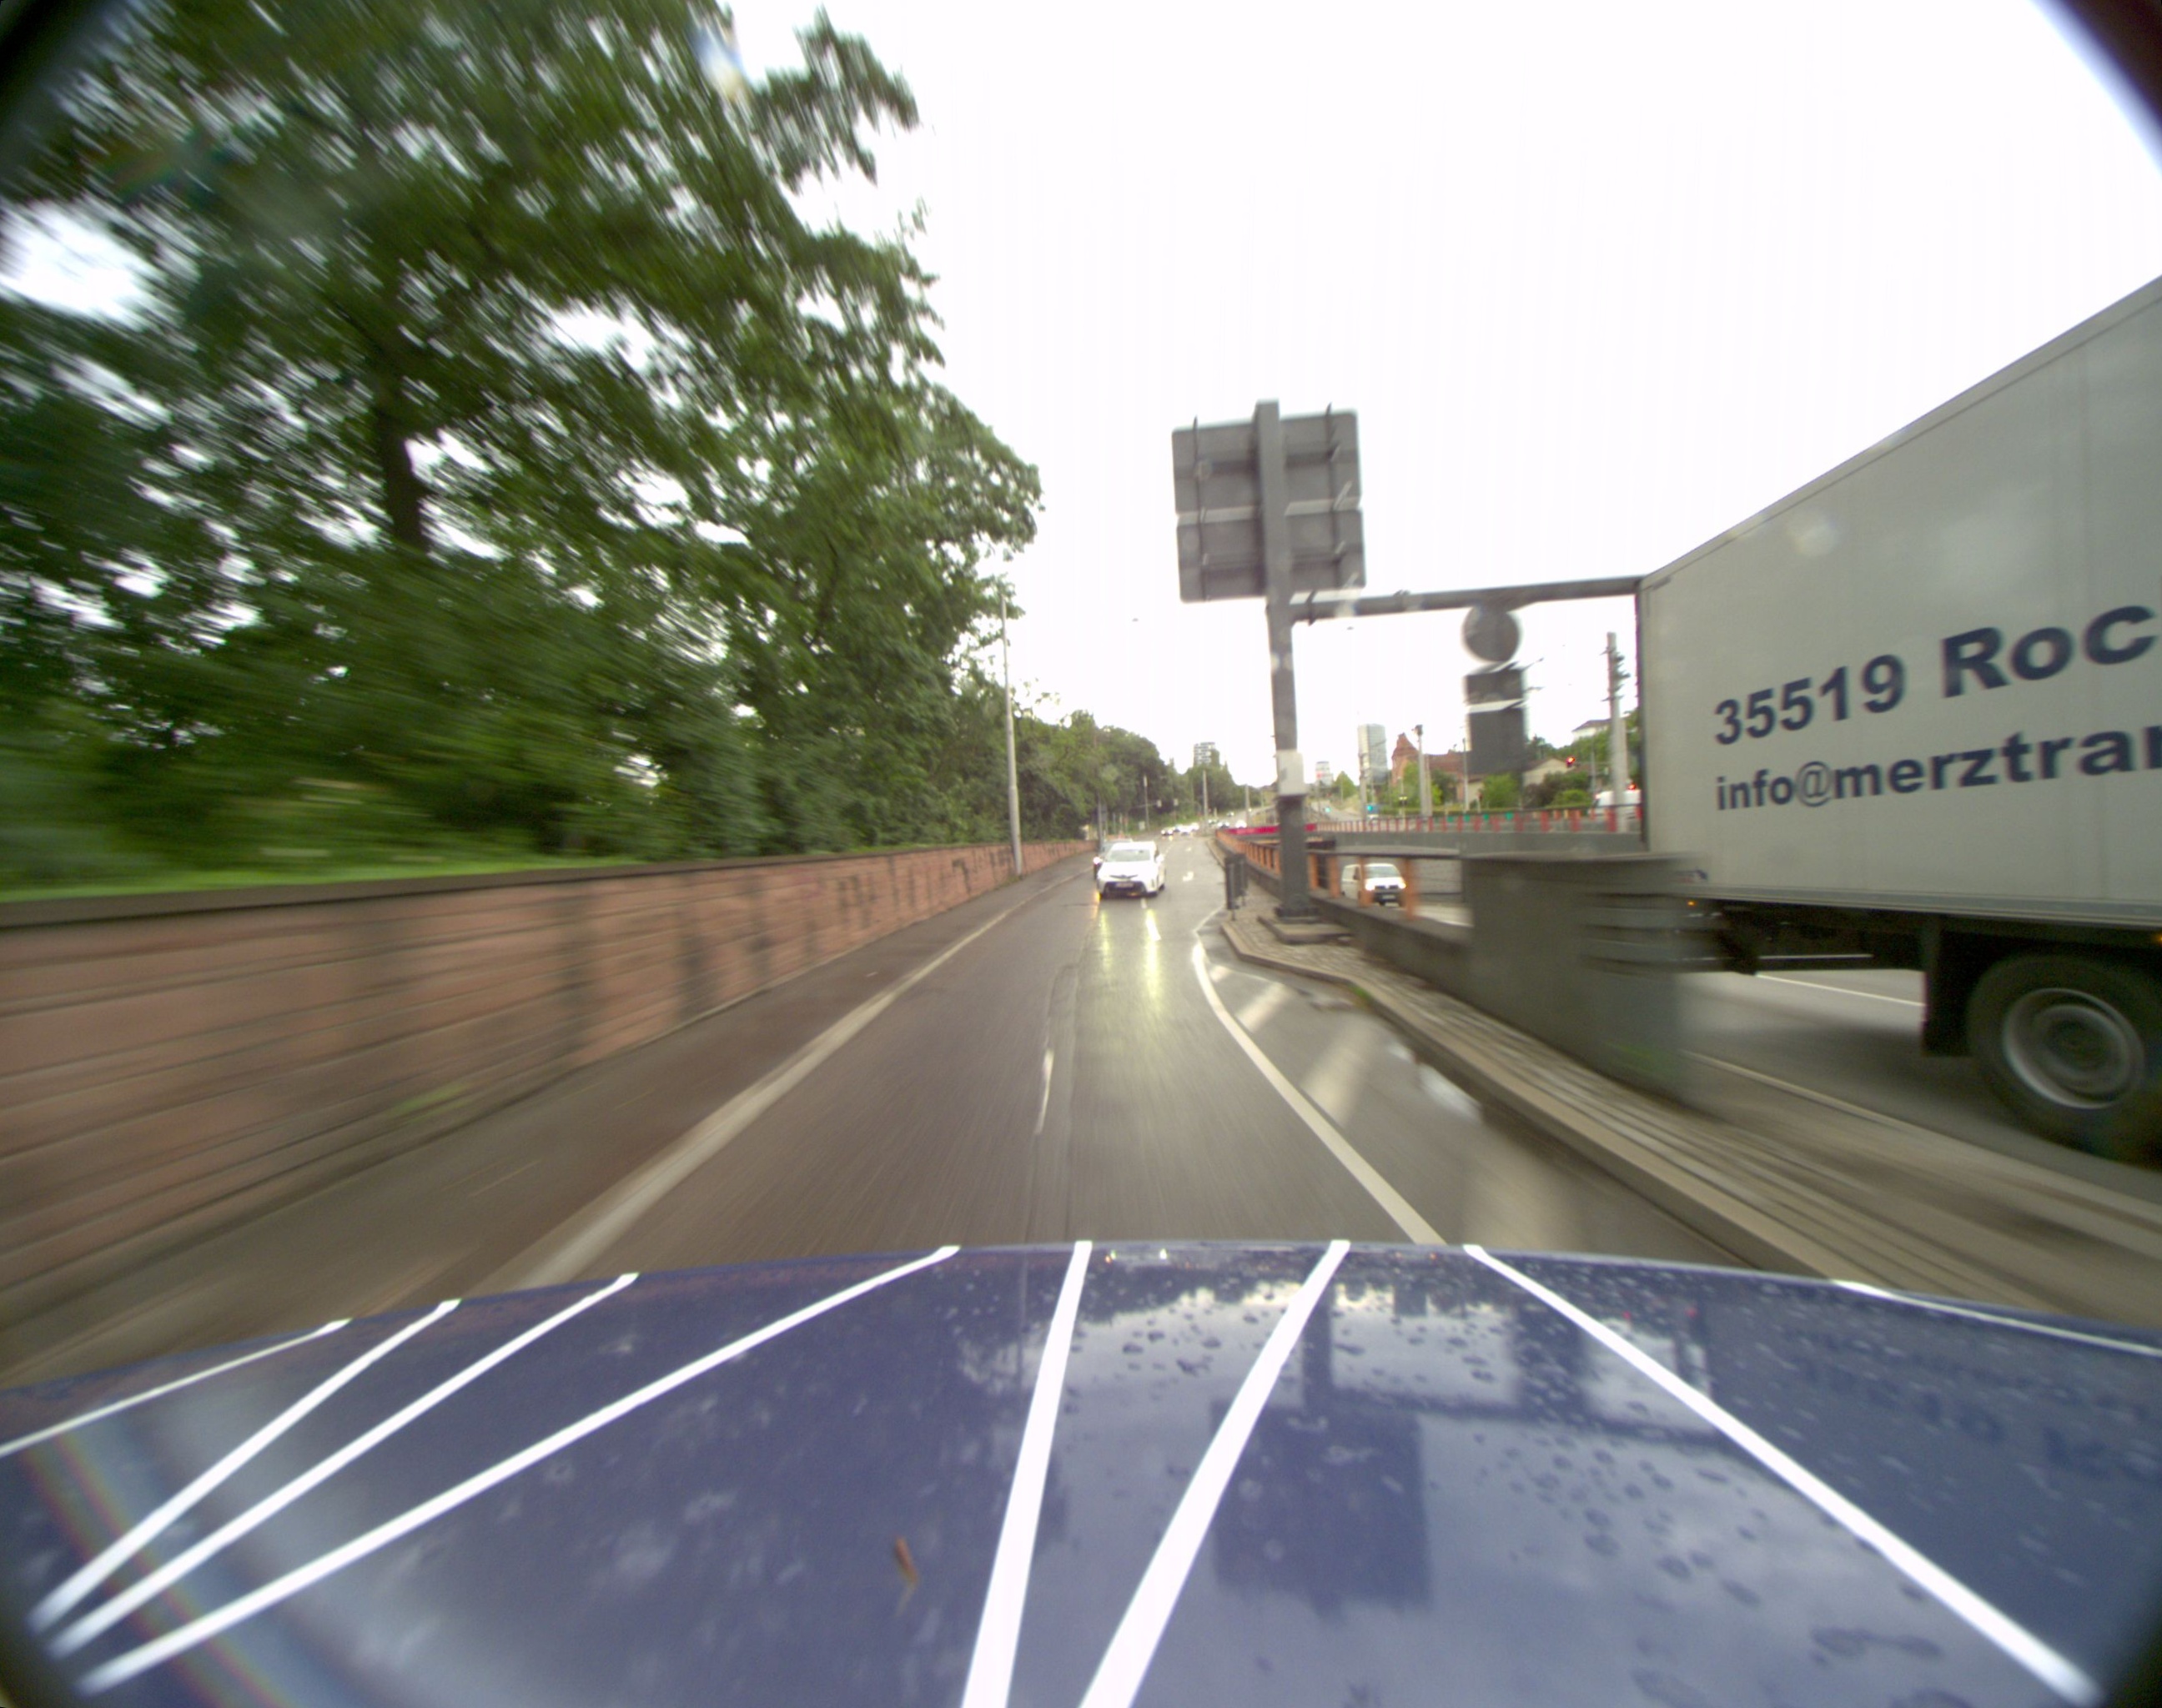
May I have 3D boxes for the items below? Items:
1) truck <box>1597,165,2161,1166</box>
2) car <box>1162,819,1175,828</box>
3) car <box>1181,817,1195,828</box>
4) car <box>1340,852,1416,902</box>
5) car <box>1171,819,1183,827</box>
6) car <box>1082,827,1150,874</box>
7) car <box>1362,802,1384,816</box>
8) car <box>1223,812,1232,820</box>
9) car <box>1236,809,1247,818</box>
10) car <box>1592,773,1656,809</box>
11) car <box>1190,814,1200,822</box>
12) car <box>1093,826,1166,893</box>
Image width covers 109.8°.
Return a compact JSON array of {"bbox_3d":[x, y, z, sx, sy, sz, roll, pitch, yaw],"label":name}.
[{"bbox_3d":[5.668,-0.727,0.619,2.768,4.174,13.032,-2,2,6],"label":"truck"},{"bbox_3d":[15.558,-5.383,134.487,1.888,1.463,4.011,-3,1,11],"label":"car"},{"bbox_3d":[18.493,-5.509,131.081,1.736,1.579,4.002,-2,5,18],"label":"car"},{"bbox_3d":[13.224,1.010,34.155,1.997,2.015,4.689,-3,-1,7],"label":"car"},{"bbox_3d":[19.403,-6.320,153.484,1.888,1.463,4.011,-3,1,11],"label":"car"},{"bbox_3d":[1.586,-0.203,32.651,1.853,1.579,4.002,-2,5,18],"label":"car"},{"bbox_3d":[47.266,-7.272,123.036,1.998,2.004,3.996,-4,5,0],"label":"car"},{"bbox_3d":[31.041,-8.019,160.990,1.800,1.464,4.000,-3,4,10],"label":"car"},{"bbox_3d":[32.402,-8.245,153.714,1.736,1.579,4.002,-2,5,18],"label":"car"},{"bbox_3d":[45.092,-5.159,63.277,1.997,2.817,5.718,-1,3,8],"label":"car"},{"bbox_3d":[22.753,-7.161,151.756,1.800,1.503,4.002,-3,1,9],"label":"car"},{"bbox_3d":[1.600,0.104,23.595,1.854,1.742,4.000,-1,4,9],"label":"car"}]
